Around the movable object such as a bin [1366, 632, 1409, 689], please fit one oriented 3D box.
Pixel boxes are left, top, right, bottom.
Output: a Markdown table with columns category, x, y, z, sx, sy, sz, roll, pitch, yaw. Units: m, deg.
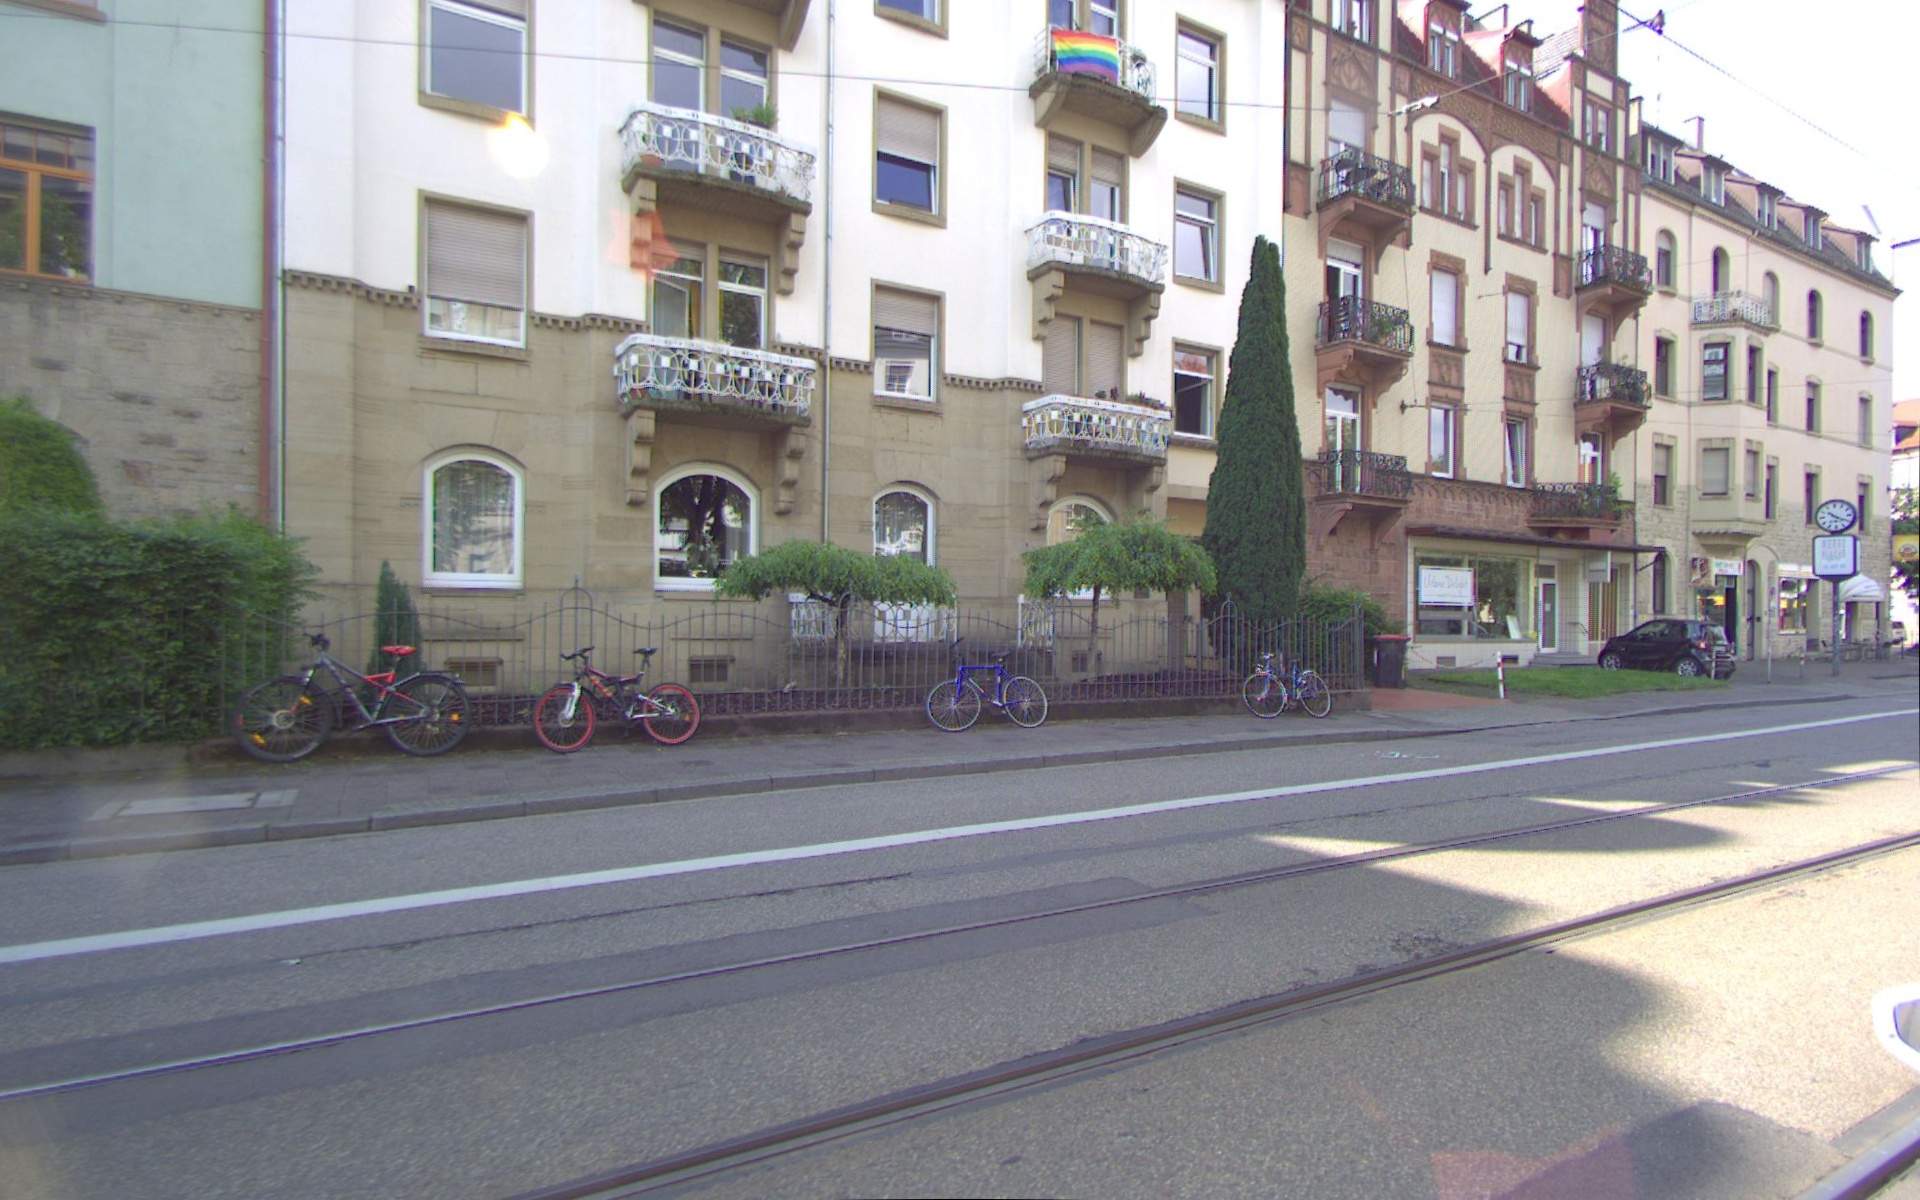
| category | x | y | z | sx | sy | sz | roll | pitch | yaw |
| --- | --- | --- | --- | --- | --- | --- | --- | --- | --- |
| movable object such as a bin | 8.768 | 1.234 | 20.606 | 0.595 | 1.084 | 0.597 | 2 | 2 | 4 |

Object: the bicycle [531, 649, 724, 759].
| category | x | y | z | sx | sy | sz | roll | pitch | yaw |
| --- | --- | --- | --- | --- | --- | --- | --- | --- | --- |
| bicycle | -3.289 | 1.008 | 10.012 | 1.779 | 0.988 | 0.381 | 1 | 1 | -29 |

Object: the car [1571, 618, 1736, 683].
| category | x | y | z | sx | sy | sz | roll | pitch | yaw |
| --- | --- | --- | --- | --- | --- | --- | --- | --- | --- |
| car | 18.463 | 1.308 | 26.872 | 1.657 | 1.533 | 3.225 | 1 | 0 | -26 |

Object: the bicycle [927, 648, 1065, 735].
| category | x | y | z | sx | sy | sz | roll | pitch | yaw |
| --- | --- | --- | --- | --- | --- | --- | --- | --- | --- |
| bicycle | 0.453 | 1.090 | 12.227 | 1.684 | 0.972 | 0.424 | 1 | 1 | -29 |

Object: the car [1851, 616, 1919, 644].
| category | x | y | z | sx | sy | sz | roll | pitch | yaw |
| --- | --- | --- | --- | --- | --- | --- | --- | --- | --- |
| car | 75.066 | 2.465 | 81.148 | 1.970 | 2.039 | 4.116 | 1 | -4 | -20 |

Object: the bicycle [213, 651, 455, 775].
| category | x | y | z | sx | sy | sz | roll | pitch | yaw |
| --- | --- | --- | --- | --- | --- | --- | --- | --- | --- |
| bicycle | -5.461 | 0.961 | 8.868 | 1.779 | 0.972 | 0.381 | 1 | 1 | -29 |

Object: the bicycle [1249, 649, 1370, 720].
| category | x | y | z | sx | sy | sz | roll | pitch | yaw |
| --- | --- | --- | --- | --- | --- | --- | --- | --- | --- |
| bicycle | 5.218 | 1.260 | 14.964 | 1.790 | 0.972 | 0.510 | 3 | 1 | -24 |
